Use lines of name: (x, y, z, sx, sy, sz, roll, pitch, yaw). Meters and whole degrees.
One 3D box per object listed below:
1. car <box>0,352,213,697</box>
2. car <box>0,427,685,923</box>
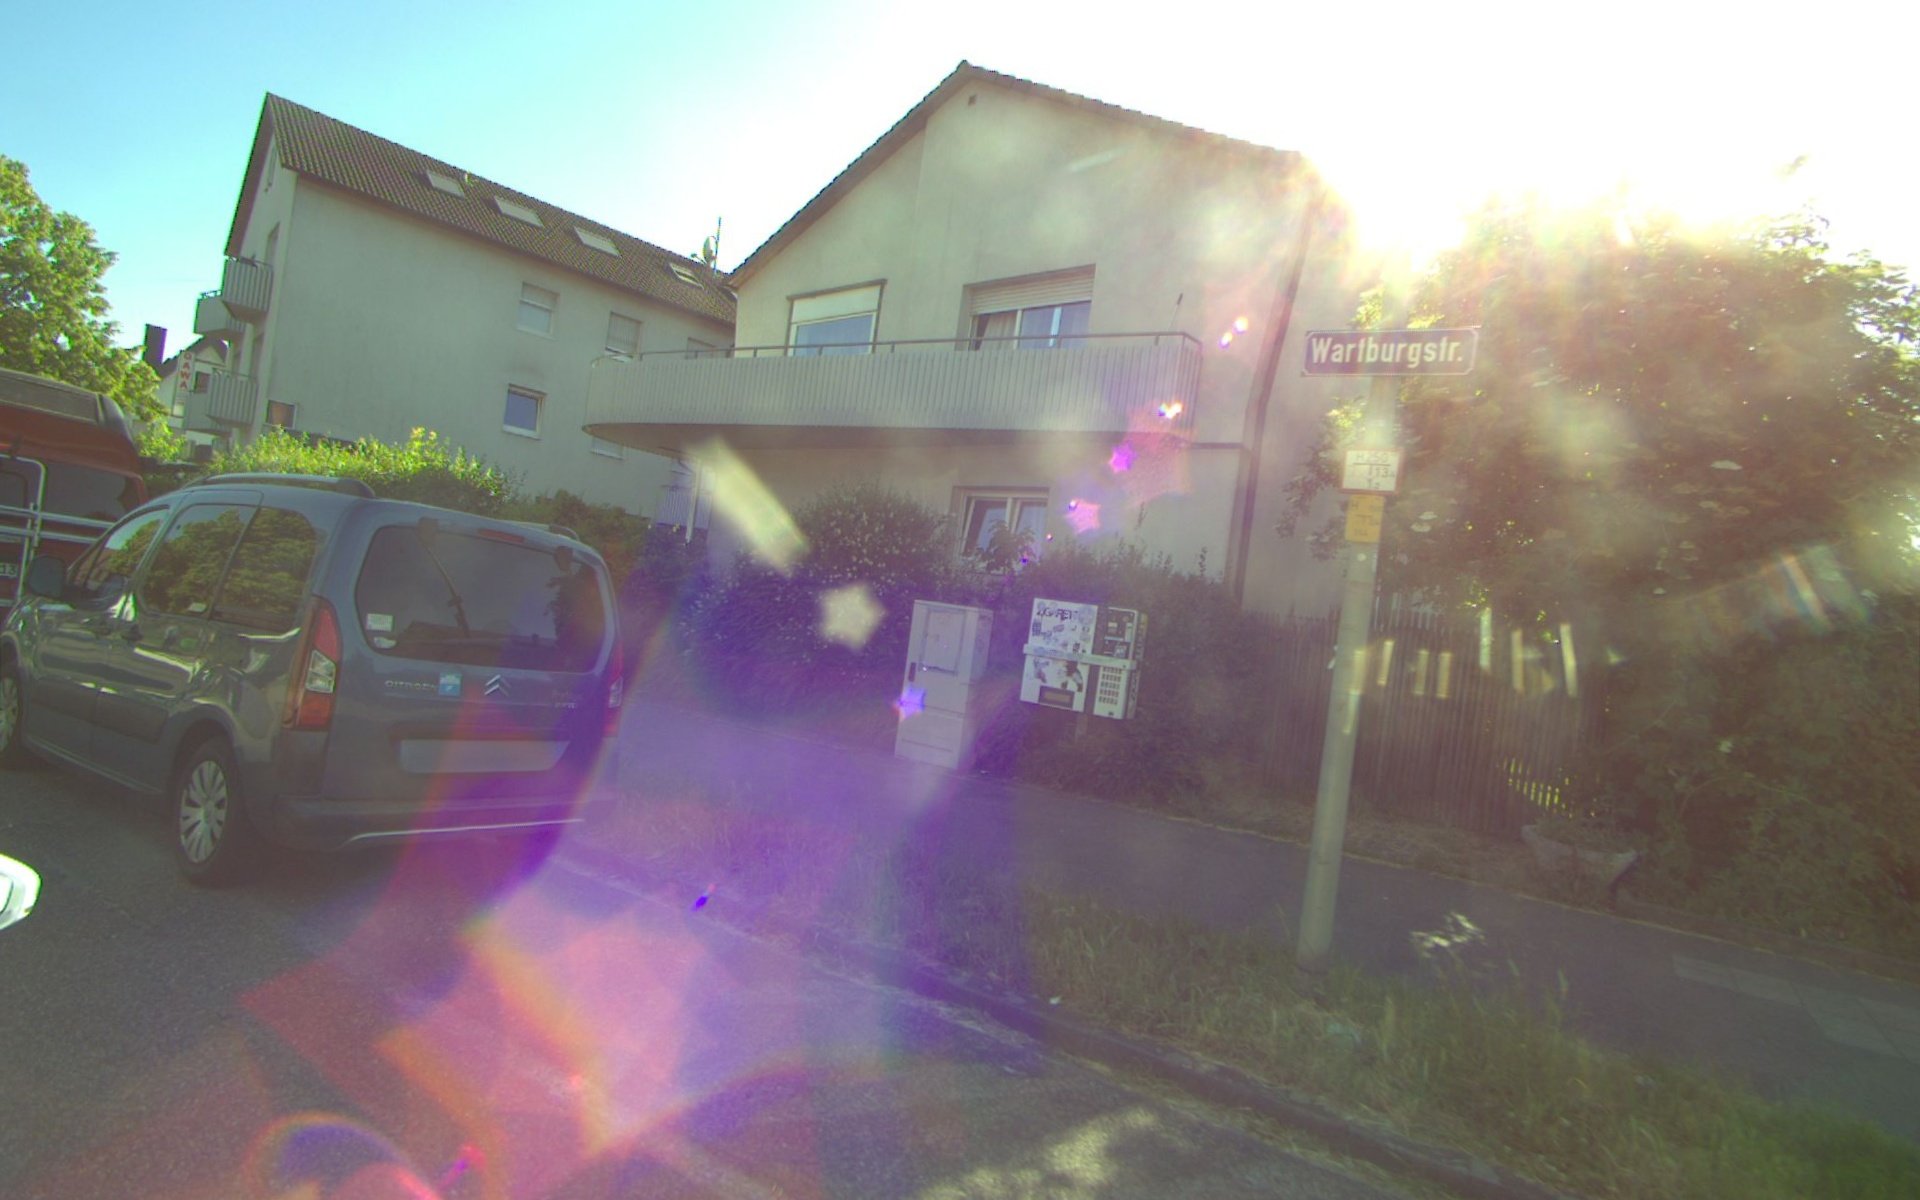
car: (-9.613, -0.831, 9.526, 5.135, 2.674, 1.962, 7, -2, 30)
car: (-3.984, 0.193, 5.853, 4.485, 1.868, 1.862, 7, -3, 32)
